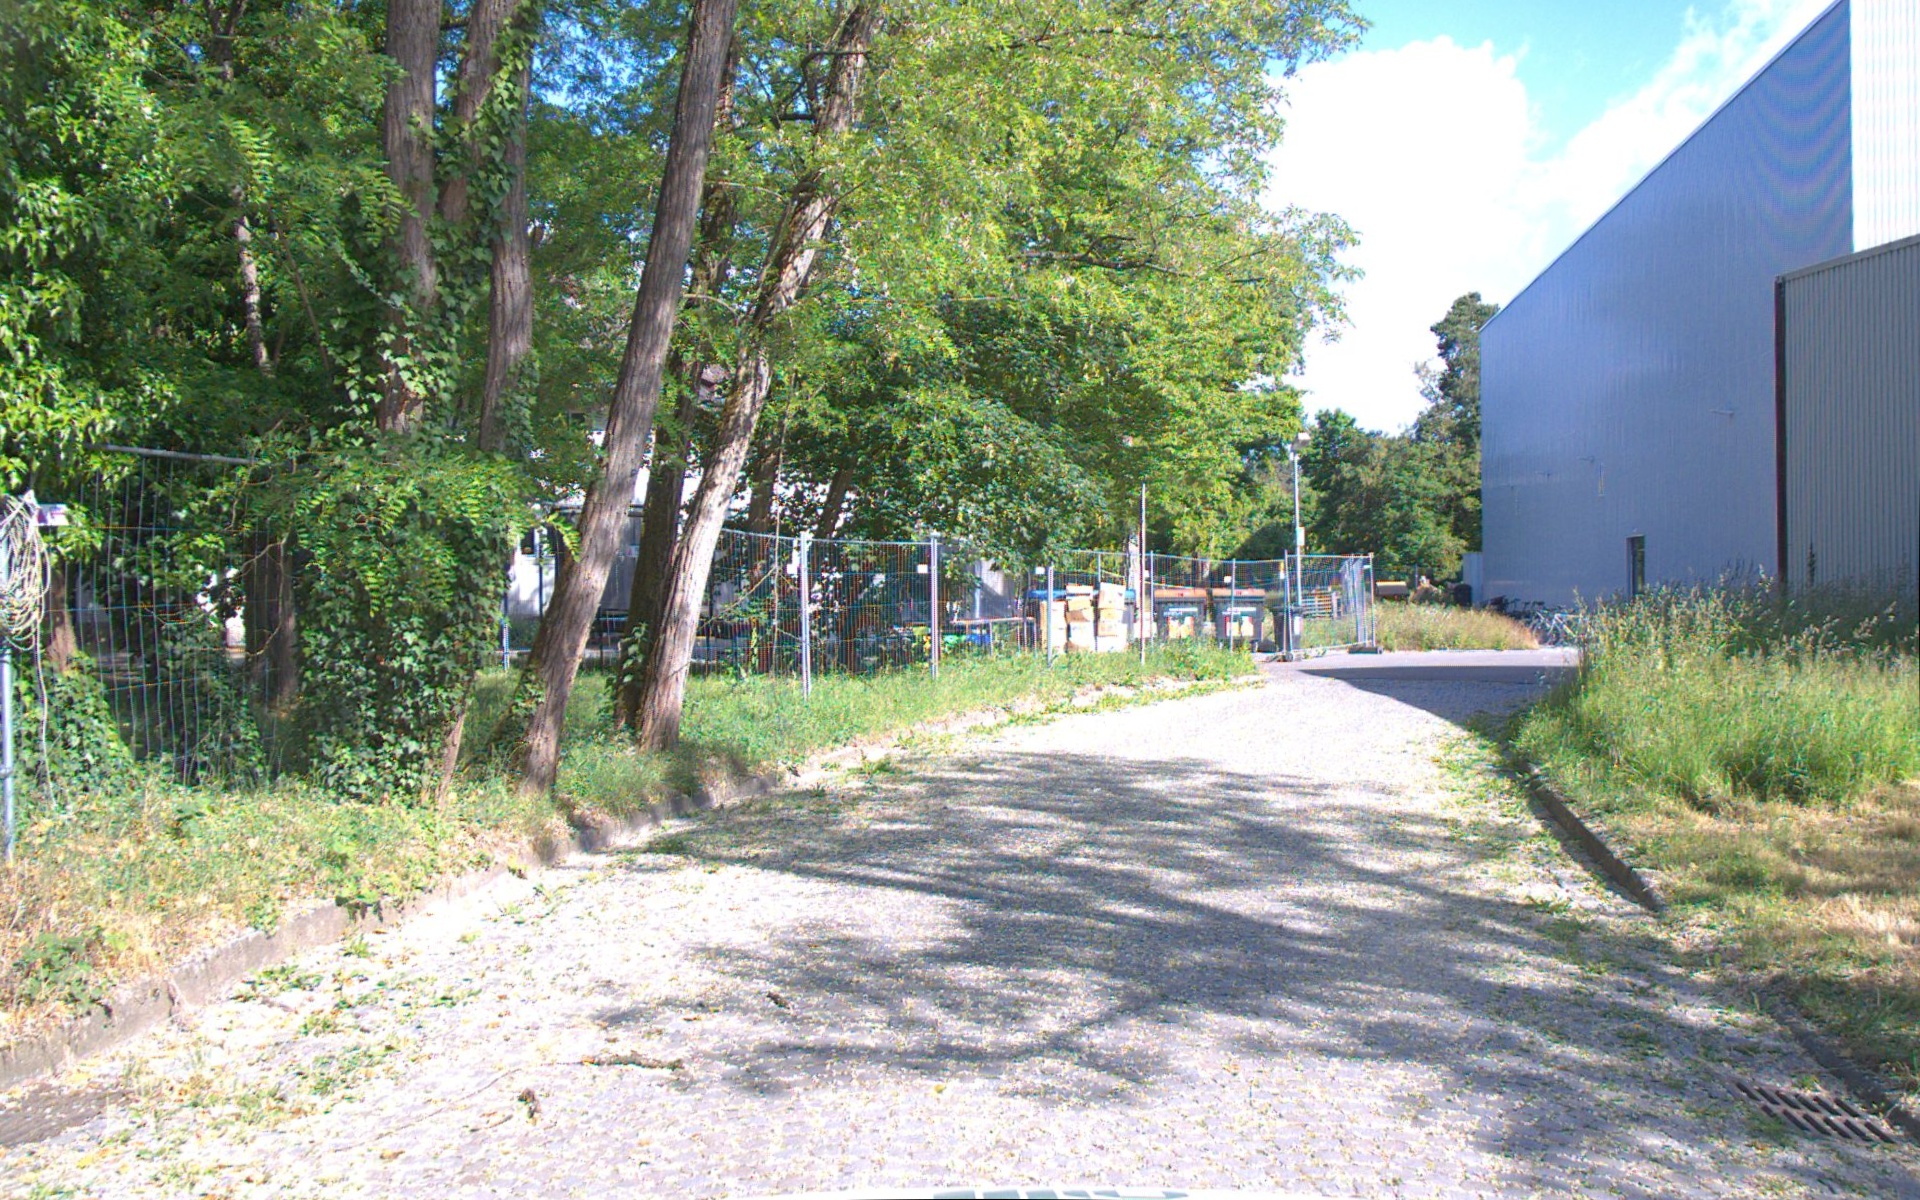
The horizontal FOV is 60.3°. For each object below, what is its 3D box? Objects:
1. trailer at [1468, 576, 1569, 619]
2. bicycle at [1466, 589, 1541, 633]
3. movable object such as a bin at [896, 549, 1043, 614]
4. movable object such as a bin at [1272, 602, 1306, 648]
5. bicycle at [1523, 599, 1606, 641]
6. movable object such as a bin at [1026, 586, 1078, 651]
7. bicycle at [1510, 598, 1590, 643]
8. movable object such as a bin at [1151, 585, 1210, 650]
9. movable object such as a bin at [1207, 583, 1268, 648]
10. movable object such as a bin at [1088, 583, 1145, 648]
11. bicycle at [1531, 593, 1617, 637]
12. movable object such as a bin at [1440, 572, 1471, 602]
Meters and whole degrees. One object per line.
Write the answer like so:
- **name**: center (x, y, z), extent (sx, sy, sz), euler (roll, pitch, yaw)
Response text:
- **trailer**: center (16.844, -0.074, 49.954), extent (2.653, 1.220, 1.247), euler (-1, 0, 7)
- **bicycle**: center (14.699, 0.297, 44.774), extent (1.843, 1.145, 0.434), euler (-1, 0, 7)
- **movable object such as a bin**: center (0.348, -0.612, 55.766), extent (4.768, 2.004, 1.934), euler (-1, 0, 5)
- **movable object such as a bin**: center (7.486, 0.574, 37.682), extent (0.628, 1.025, 0.605), euler (-1, 0, 23)
- **bicycle**: center (14.845, 0.488, 40.660), extent (1.843, 0.995, 0.434), euler (-1, 0, 7)
- **movable object such as a bin**: center (2.134, 0.414, 38.431), extent (1.061, 1.463, 1.057), euler (-1, 0, 10)
- **bicycle**: center (14.993, 0.515, 42.055), extent (1.843, 1.101, 0.434), euler (-1, 0, 7)
- **movable object such as a bin**: center (5.077, 0.389, 38.134), extent (1.260, 1.451, 1.033), euler (-1, 0, 5)
- **movable object such as a bin**: center (6.360, 0.355, 38.028), extent (1.260, 1.451, 1.033), euler (-1, 0, 4)
- **movable object such as a bin**: center (3.629, 0.348, 38.330), extent (1.260, 1.451, 1.033), euler (-1, 0, 5)
- **bicycle**: center (14.613, 0.365, 39.393), extent (1.843, 0.995, 0.434), euler (-1, 0, 7)
- **movable object such as a bin**: center (28.665, -0.748, 95.683), extent (1.334, 1.685, 2.845), euler (-1, 0, 10)
